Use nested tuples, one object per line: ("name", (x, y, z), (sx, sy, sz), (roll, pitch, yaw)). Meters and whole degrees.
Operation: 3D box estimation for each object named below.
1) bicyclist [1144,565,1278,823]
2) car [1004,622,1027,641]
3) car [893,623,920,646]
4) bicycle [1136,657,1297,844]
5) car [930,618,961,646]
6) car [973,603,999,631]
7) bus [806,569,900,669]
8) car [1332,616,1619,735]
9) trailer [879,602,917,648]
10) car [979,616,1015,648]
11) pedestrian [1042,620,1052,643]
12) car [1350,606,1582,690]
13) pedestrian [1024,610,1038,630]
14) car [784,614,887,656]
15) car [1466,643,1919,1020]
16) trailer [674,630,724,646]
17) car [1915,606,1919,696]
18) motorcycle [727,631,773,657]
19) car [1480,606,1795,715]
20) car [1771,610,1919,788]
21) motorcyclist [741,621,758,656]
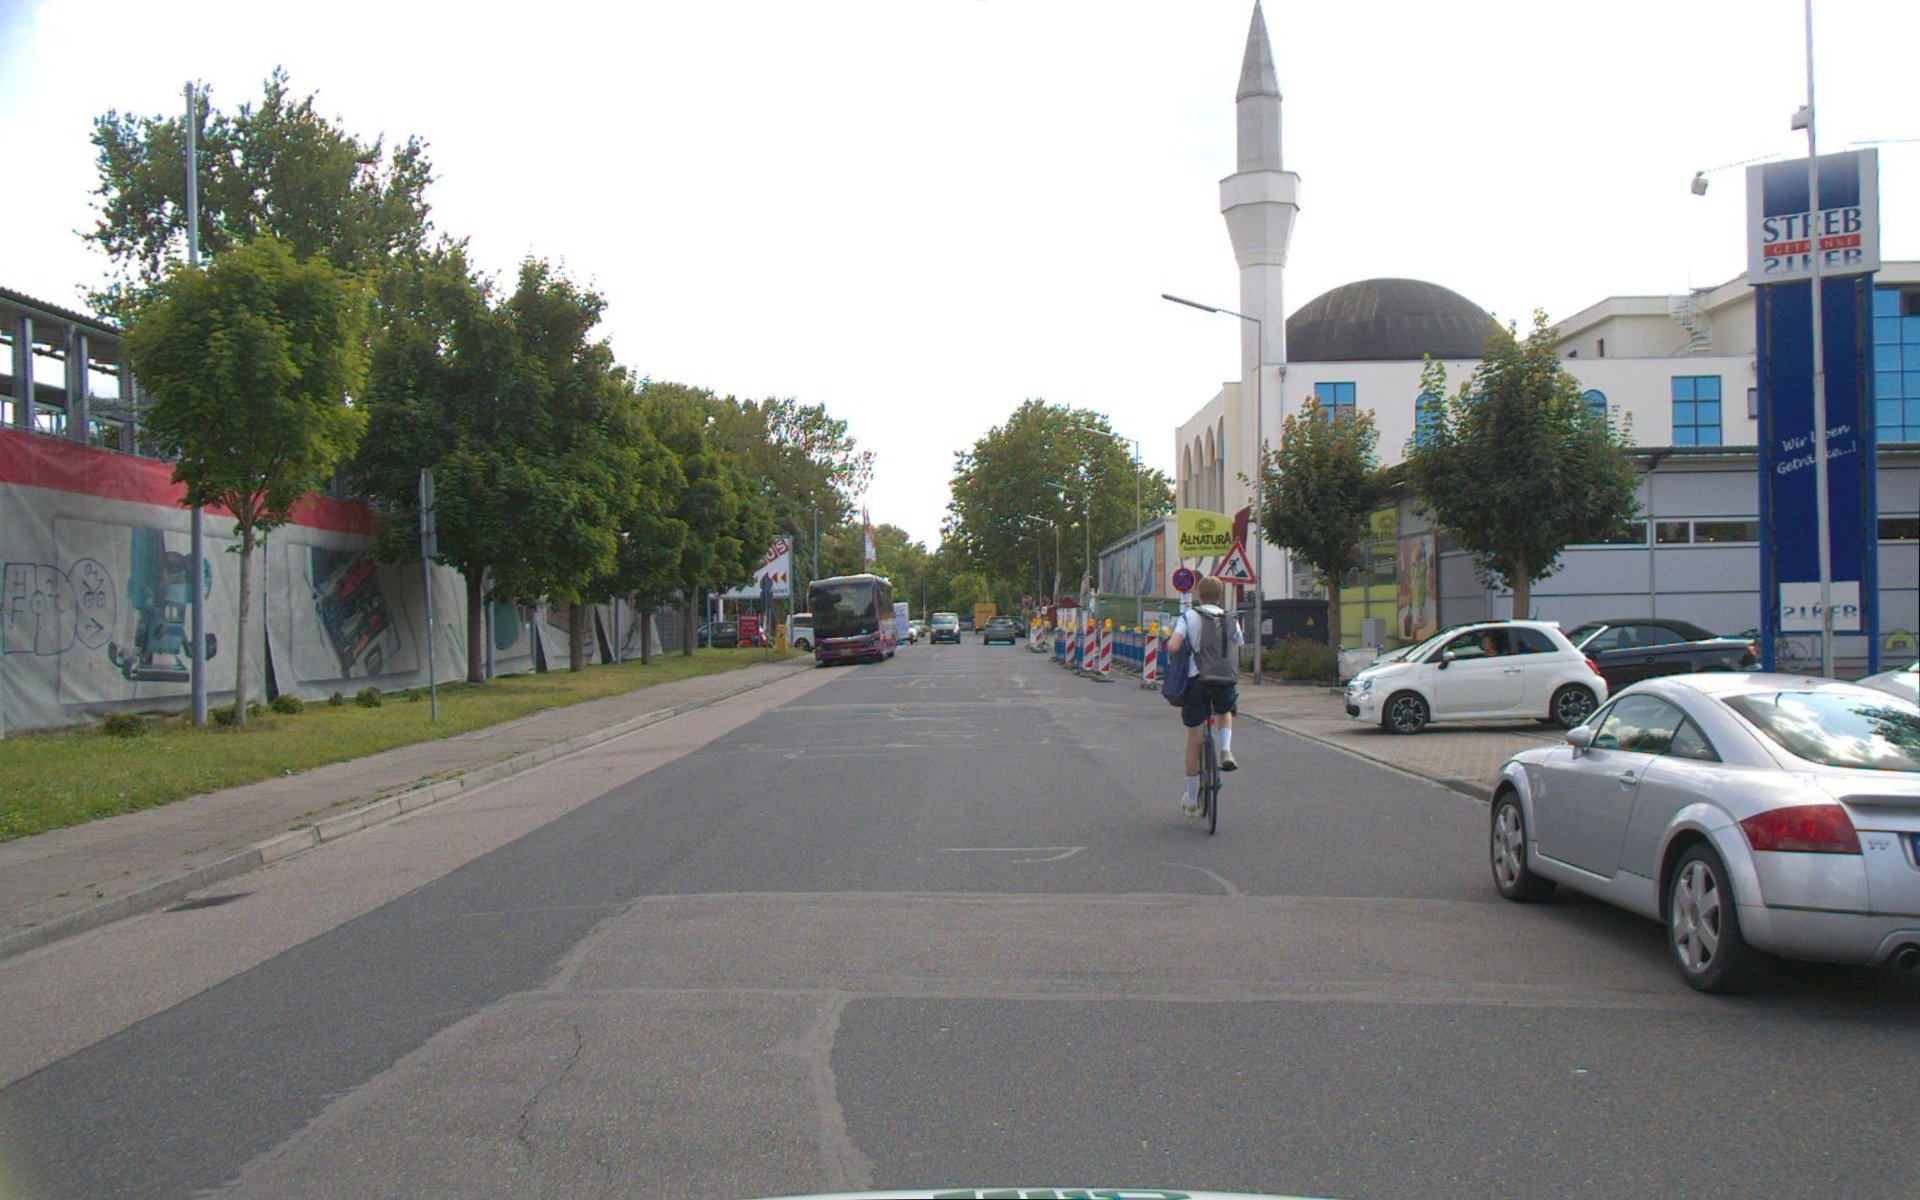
("bicyclist", (1.854, 0.681, 12.383), (0.790, 1.824, 1.207), (1, -1, 0))
("car", (4.456, 2.512, 132.786), (1.770, 1.415, 4.588), (2, -1, 2))
("car", (-3.772, 2.466, 117.907), (1.730, 1.505, 4.234), (-4, -1, -1))
("bicycle", (1.861, 1.055, 12.406), (0.781, 1.201, 2.626), (1, -1, 0))
("car", (-0.892, 1.996, 103.170), (1.830, 1.658, 4.126), (-1, -1, 0))
("car", (2.506, 1.673, 162.556), (2.155, 2.623, 6.401), (-1, 0, -3))
("bus", (-4.177, 0.796, 67.412), (2.609, 3.482, 13.217), (-4, -1, 0))
("car", (7.203, 1.042, 23.385), (3.524, 1.495, 1.689), (-2, -1, 4))
("trailer", (-3.981, 1.612, 107.160), (2.096, 2.832, 4.702), (-3, -1, 0))
("car", (2.177, 1.870, 98.251), (1.922, 1.847, 4.274), (-1, -1, -1))
("pedestrian", (6.150, 2.235, 117.178), (0.667, 1.561, 1.130), (-1, -1, 0))
("car", (10.231, 0.951, 33.645), (4.021, 1.489, 1.989), (-2, -1, -3))
("pedestrian", (6.801, 1.953, 158.593), (0.985, 1.882, 1.223), (0, -1, -17))
("car", (-6.275, 1.764, 83.526), (4.894, 1.983, 1.993), (-1, -1, 6))
("car", (3.998, 0.962, 8.355), (1.627, 1.364, 3.984), (2, -1, 0))
("trailer", (-21.319, 3.066, 135.073), (3.736, 1.211, 1.716), (-1, 0, 6))
("car", (14.614, 0.707, 22.217), (4.347, 1.435, 1.662), (-2, -1, -40))
("motorcycle", (-10.647, 2.209, 83.871), (2.175, 1.235, 0.994), (-2, -1, 1))
("car", (10.399, 0.916, 25.580), (4.097, 1.455, 1.805), (-2, -1, -3))
("car", (9.723, 0.784, 14.950), (3.873, 1.435, 1.795), (-3, -1, -3))
("motorcyclist", (-10.663, 1.946, 83.881), (0.660, 1.753, 0.994), (-2, -1, 1))
